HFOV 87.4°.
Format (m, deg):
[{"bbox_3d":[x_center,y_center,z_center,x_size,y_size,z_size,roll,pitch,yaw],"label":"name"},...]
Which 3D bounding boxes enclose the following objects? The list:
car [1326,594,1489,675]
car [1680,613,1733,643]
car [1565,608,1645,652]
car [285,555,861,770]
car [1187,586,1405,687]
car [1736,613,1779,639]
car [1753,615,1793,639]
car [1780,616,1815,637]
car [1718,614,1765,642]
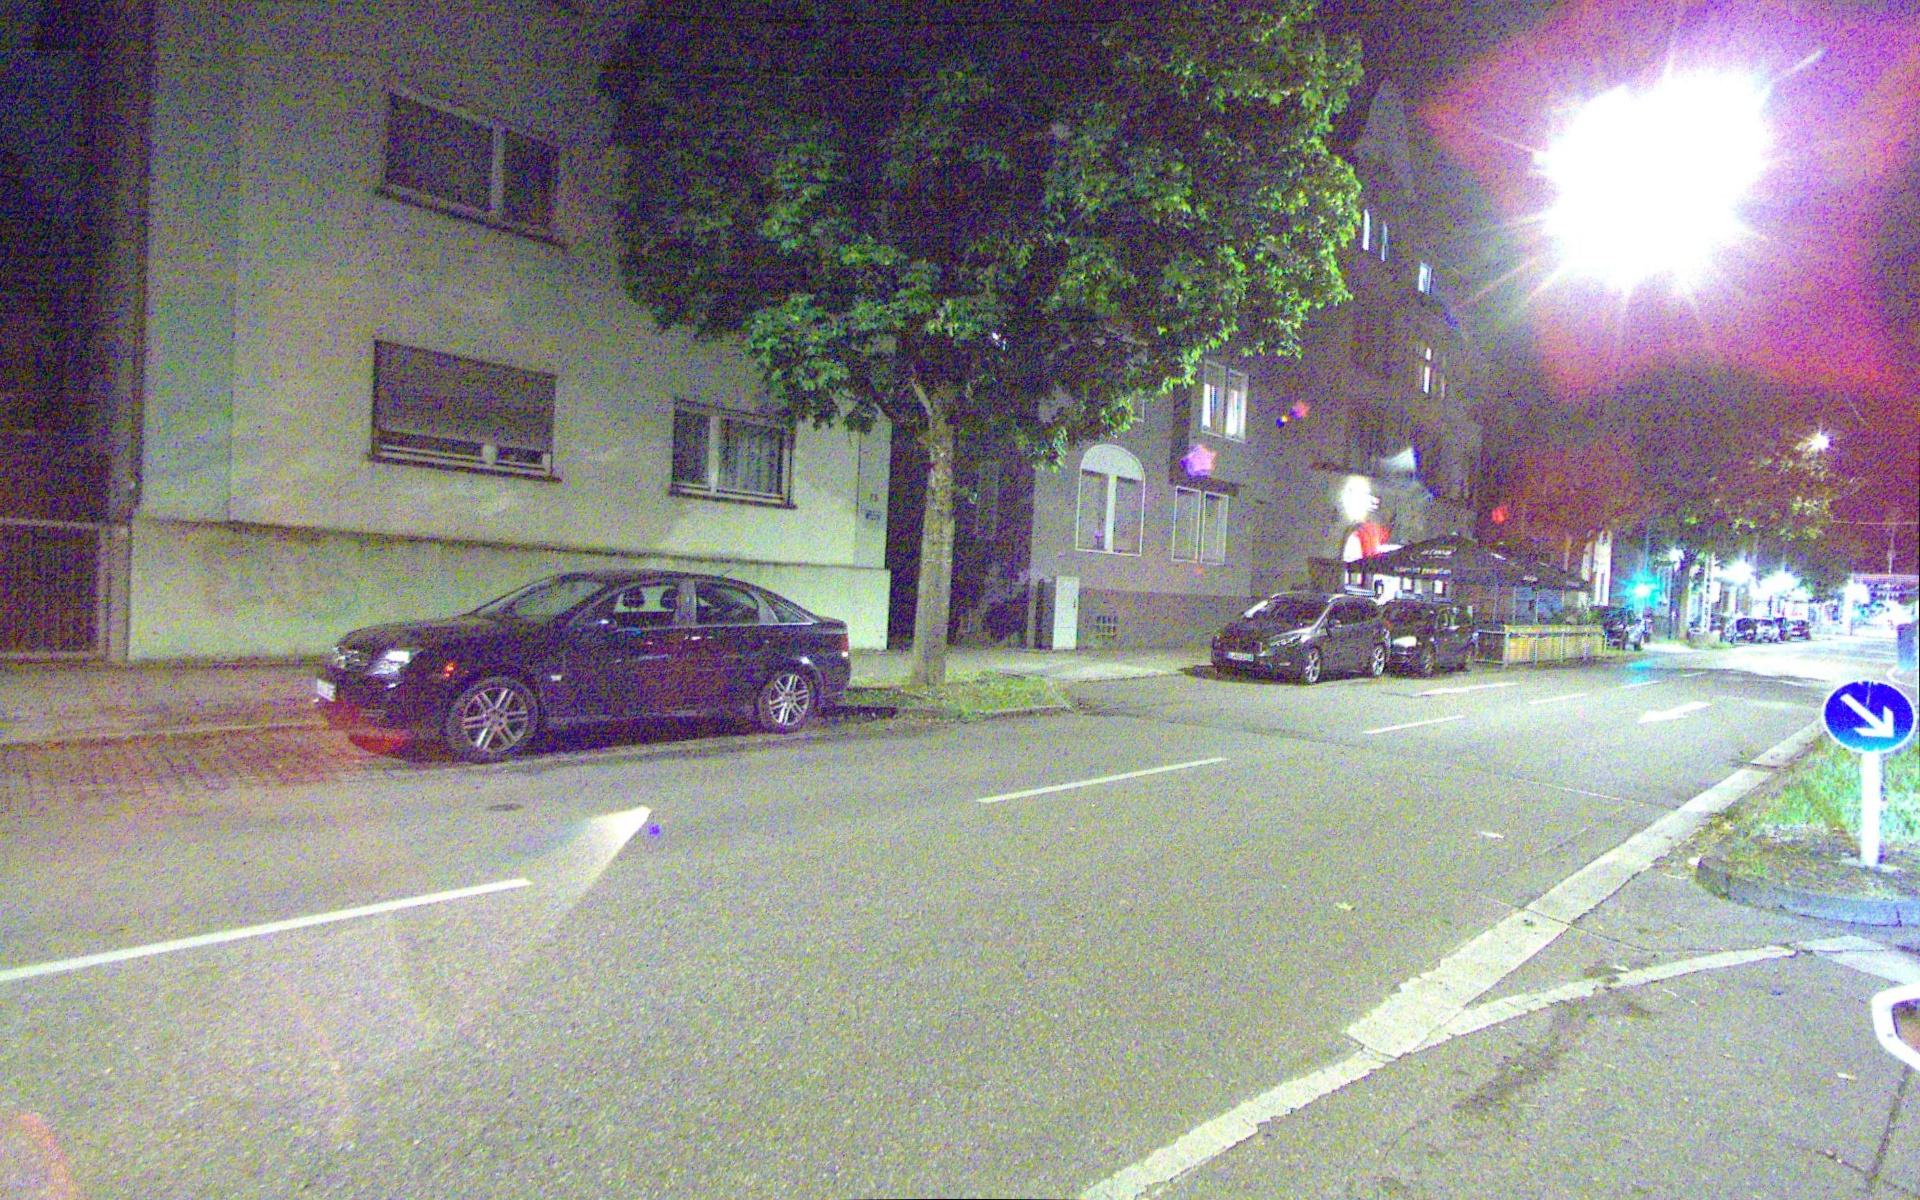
[{"bbox_3d":[9.716,0.723,21.641,1.785,1.501,4.297,4,1,44],"label":"car"},{"bbox_3d":[38.747,1.435,52.099,1.634,1.450,3.975,3,1,45],"label":"car"},{"bbox_3d":[23.724,1.077,36.877,1.634,1.450,3.975,3,1,45],"label":"car"},{"bbox_3d":[-3.062,0.433,8.762,1.604,1.401,4.428,3,1,42],"label":"car"},{"bbox_3d":[6.151,0.597,18.100,4.423,1.491,1.880,1,4,-45],"label":"car"},{"bbox_3d":[49.185,1.613,61.909,1.634,1.450,3.975,3,1,45],"label":"car"},{"bbox_3d":[53.939,1.783,66.616,1.634,1.450,3.975,3,1,45],"label":"car"},{"bbox_3d":[63.589,2.001,76.264,1.634,1.450,3.975,3,1,45],"label":"car"},{"bbox_3d":[44.826,1.595,57.612,1.634,1.450,3.975,3,1,45],"label":"car"}]
